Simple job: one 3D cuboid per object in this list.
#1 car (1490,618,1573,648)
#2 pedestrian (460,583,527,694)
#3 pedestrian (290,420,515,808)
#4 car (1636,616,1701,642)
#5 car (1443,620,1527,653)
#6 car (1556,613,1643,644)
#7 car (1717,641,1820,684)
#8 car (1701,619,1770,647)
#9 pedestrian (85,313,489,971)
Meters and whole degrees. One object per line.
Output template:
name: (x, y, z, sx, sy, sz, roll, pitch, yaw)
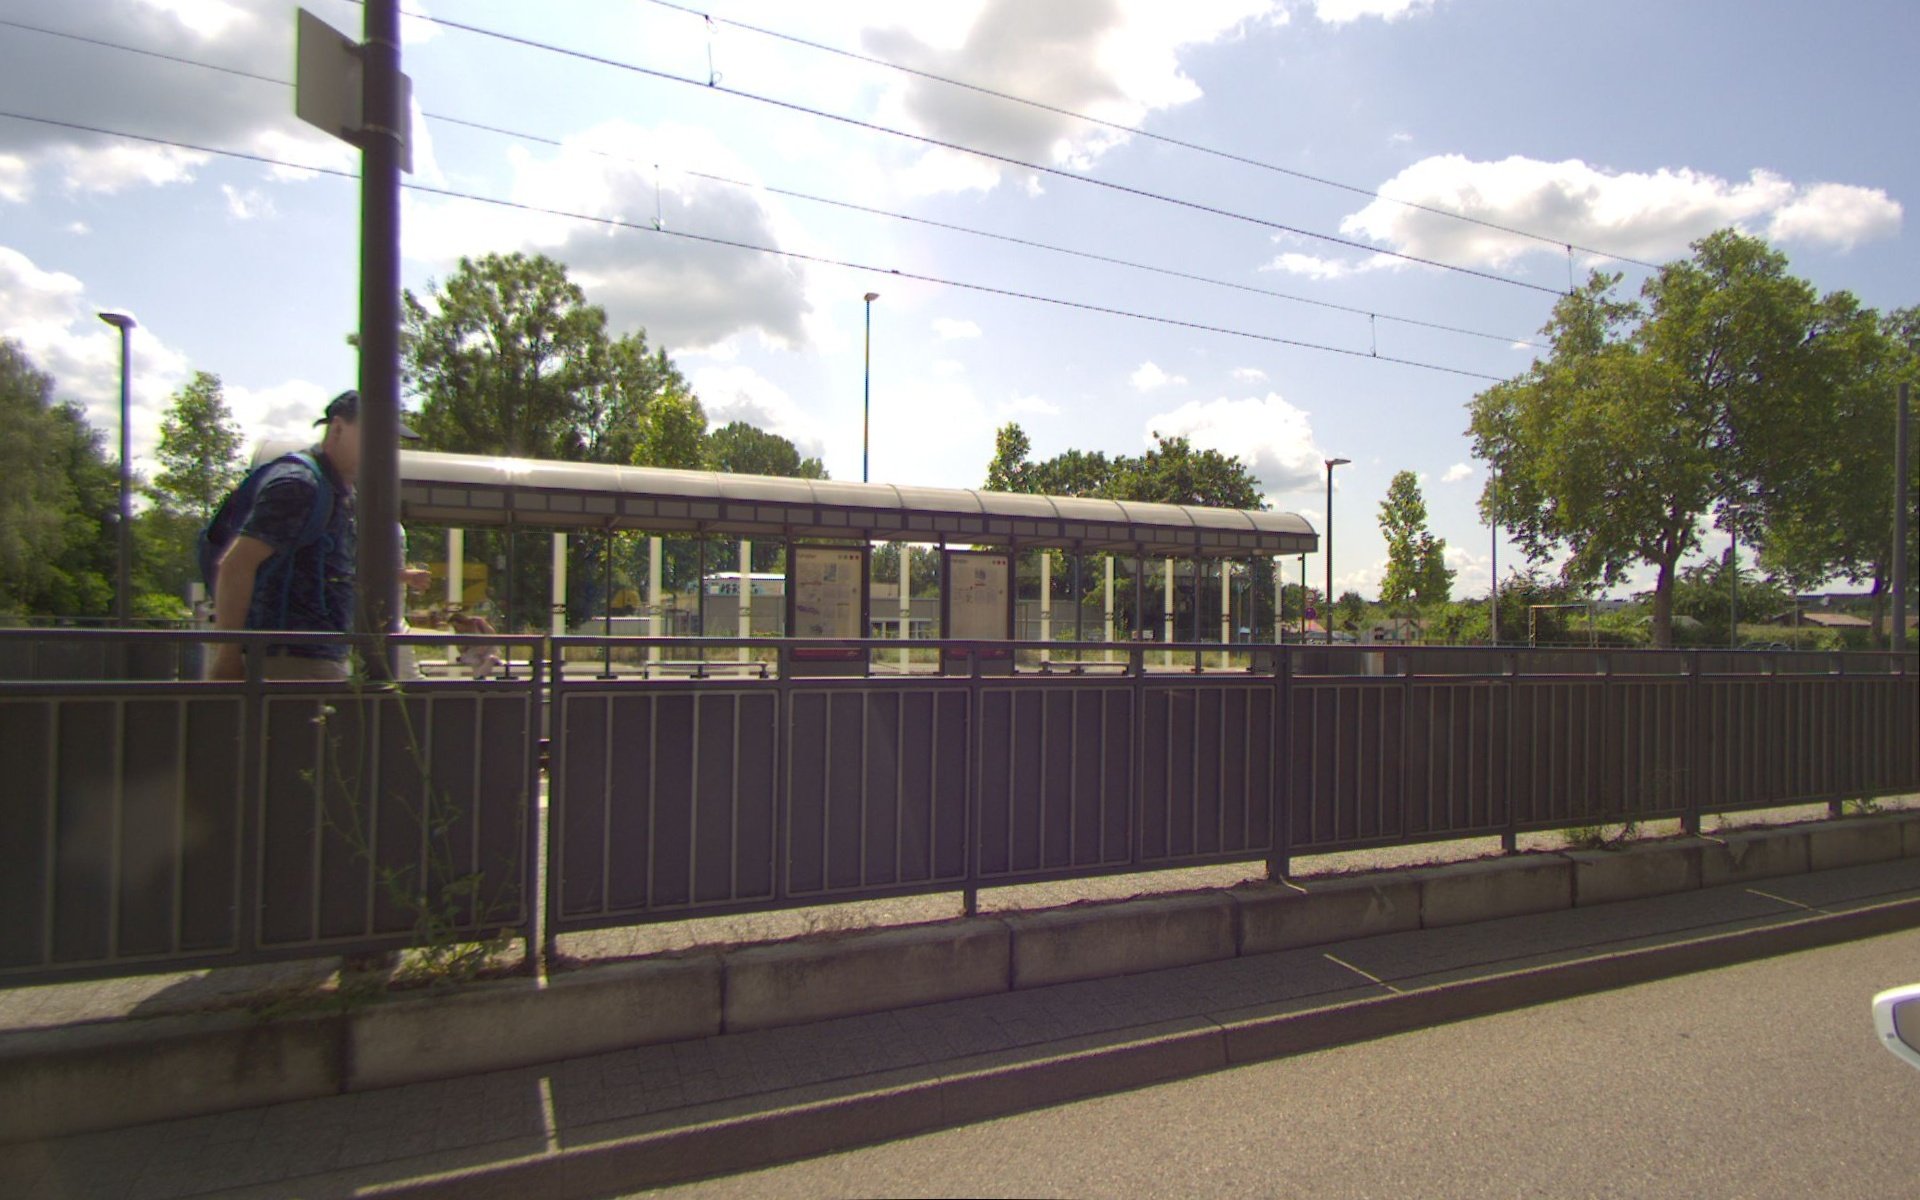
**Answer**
car: (33.296, 1.895, 58.613, 1.882, 1.684, 3.907, 0, 0, -22)
pedestrian: (-6.302, 0.532, 13.606, 0.776, 1.450, 0.759, 1, -4, -24)
pedestrian: (-2.863, 0.076, 5.263, 0.917, 1.831, 0.732, 1, 0, -23)
car: (47.249, 1.901, 66.994, 3.875, 1.684, 1.898, 1, 0, -25)
car: (29.210, 1.999, 55.980, 1.882, 1.684, 3.908, 0, 0, -21)
car: (36.813, 1.618, 57.929, 1.882, 1.684, 3.907, 0, 0, -22)
car: (33.275, 2.522, 41.335, 3.945, 1.606, 1.704, 1, 0, -25)
car: (48.520, 2.036, 62.854, 3.875, 1.684, 1.898, 1, 0, -25)
pedestrian: (-2.063, 0.124, 3.235, 0.917, 1.779, 0.732, 1, 0, -23)
